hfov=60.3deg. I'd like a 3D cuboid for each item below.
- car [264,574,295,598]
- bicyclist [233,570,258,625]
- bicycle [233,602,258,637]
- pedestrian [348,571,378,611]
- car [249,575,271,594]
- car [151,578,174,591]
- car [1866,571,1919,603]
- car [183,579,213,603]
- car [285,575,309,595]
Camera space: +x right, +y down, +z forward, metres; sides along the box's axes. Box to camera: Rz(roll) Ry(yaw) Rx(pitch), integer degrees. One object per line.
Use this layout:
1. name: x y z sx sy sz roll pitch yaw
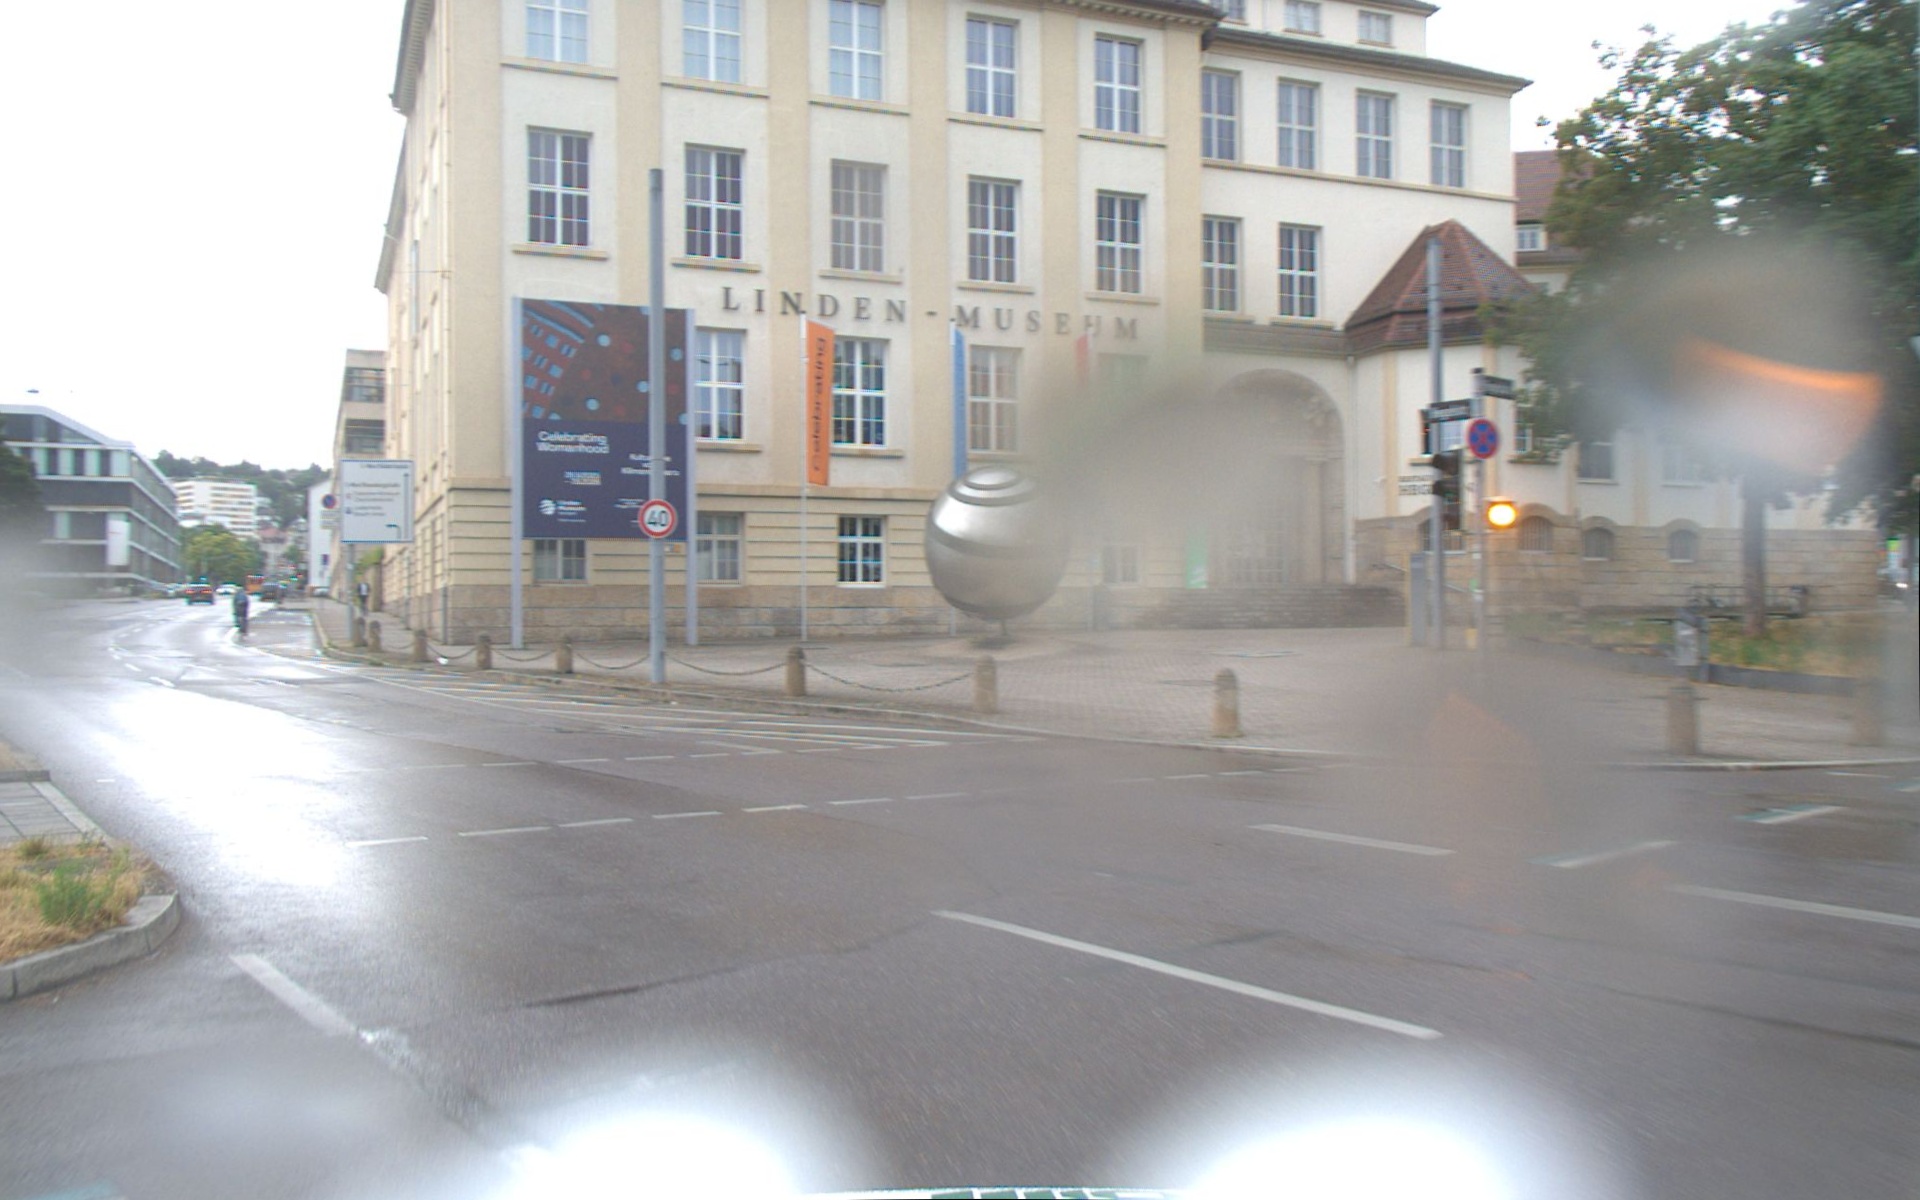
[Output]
1. car: -50.039 -1.034 121.698 1.810 1.587 3.980 1 2 -18
2. bicyclist: -22.336 -0.085 51.690 0.691 1.661 1.120 1 0 -24
3. bicycle: -22.320 0.601 51.635 0.638 1.075 1.806 1 0 -26
4. pedestrian: -28.221 -0.432 78.195 1.221 1.819 1.586 -2 1 -19
5. car: -66.741 -1.472 157.737 1.812 1.587 3.976 1 2 -21
6. car: -86.750 -1.720 179.930 1.811 1.256 3.398 1 2 -19
7. car: 44.339 -0.620 78.048 1.750 1.466 4.003 -1 0 13
8. car: -57.672 -0.714 125.243 1.866 1.653 3.622 1 2 -23
9. car: -56.157 -1.286 140.107 1.812 1.587 3.976 1 2 -21
